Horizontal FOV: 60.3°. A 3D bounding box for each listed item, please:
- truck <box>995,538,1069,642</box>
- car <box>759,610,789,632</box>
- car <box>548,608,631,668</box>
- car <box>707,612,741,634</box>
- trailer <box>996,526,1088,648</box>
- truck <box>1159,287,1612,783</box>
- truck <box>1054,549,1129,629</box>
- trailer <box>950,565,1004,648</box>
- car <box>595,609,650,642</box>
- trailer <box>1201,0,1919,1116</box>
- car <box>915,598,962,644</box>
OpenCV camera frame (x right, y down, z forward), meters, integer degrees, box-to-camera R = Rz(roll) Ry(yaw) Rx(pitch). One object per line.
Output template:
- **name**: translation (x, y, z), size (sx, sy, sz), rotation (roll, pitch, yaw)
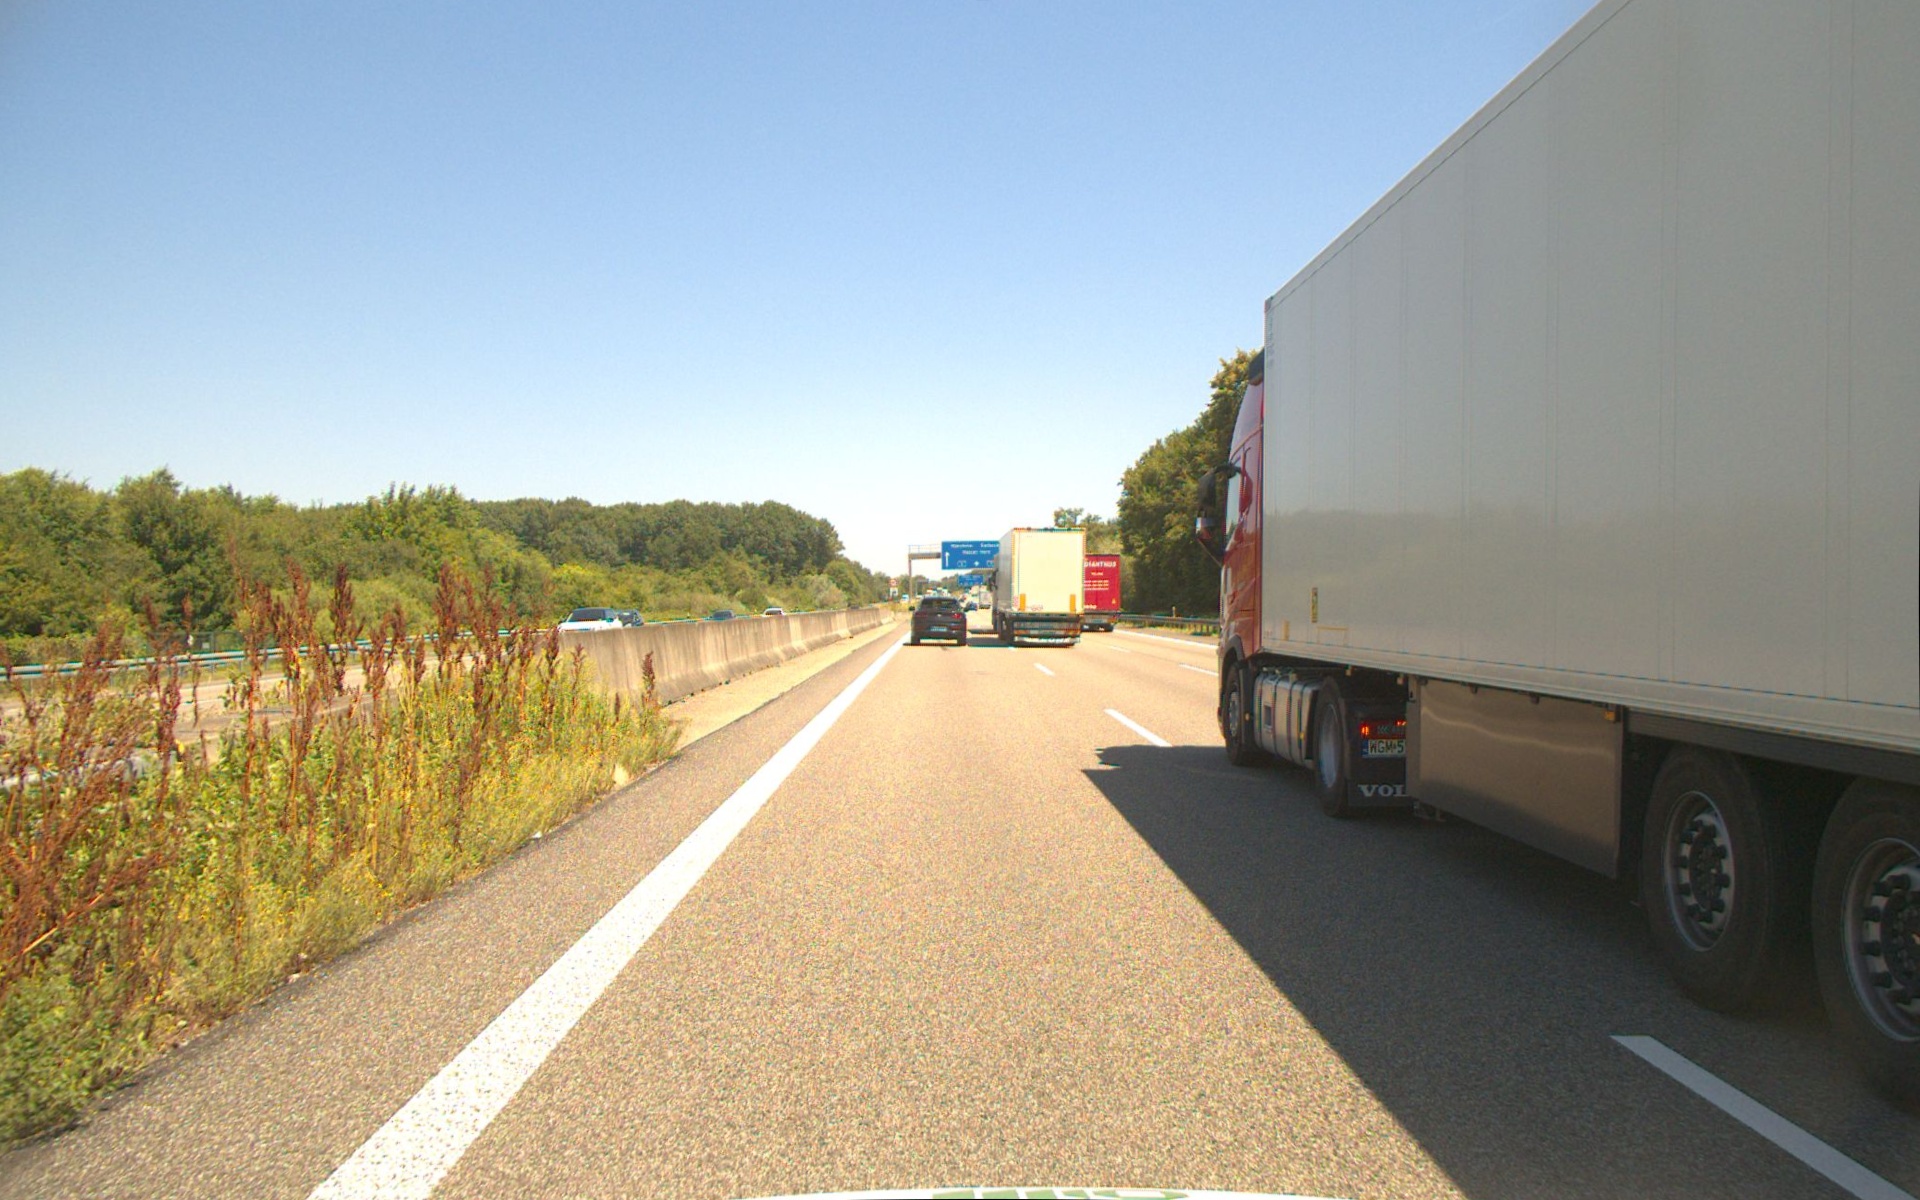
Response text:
- **truck**: translation (2.894, -0.378, 68.129), size (2.742, 4.077, 6.020), rotation (0, 0, -1)
- **car**: translation (-14.104, 1.583, 125.466), size (1.738, 1.565, 4.683), rotation (-2, 0, -1)
- **car**: translation (-13.736, 1.376, 61.611), size (1.953, 2.049, 4.937), rotation (-3, 0, -1)
- **car**: translation (-17.899, 1.719, 125.495), size (1.869, 1.504, 4.824), rotation (-3, 0, -1)
- **trailer**: translation (2.924, -0.430, 62.524), size (2.738, 4.106, 12.566), rotation (0, 0, 0)
- **truck**: translation (3.889, -0.520, 16.711), size (2.881, 4.055, 6.100), rotation (1, 0, -1)
- **truck**: translation (7.347, -0.541, 94.304), size (2.993, 4.178, 13.214), rotation (1, 0, -1)
- **trailer**: translation (0.886, 0.395, 90.073), size (2.652, 4.139, 14.745), rotation (1, -1, 0)
- **car**: translation (-17.916, 1.325, 88.019), size (1.953, 1.585, 4.683), rotation (-2, 0, -1)
- **trailer**: translation (4.060, -0.570, 8.813), size (2.878, 4.088, 16.196), rotation (1, 0, -1)
- **car**: translation (-0.774, 0.724, 58.703), size (1.626, 1.576, 3.782), rotation (0, 0, -1)
